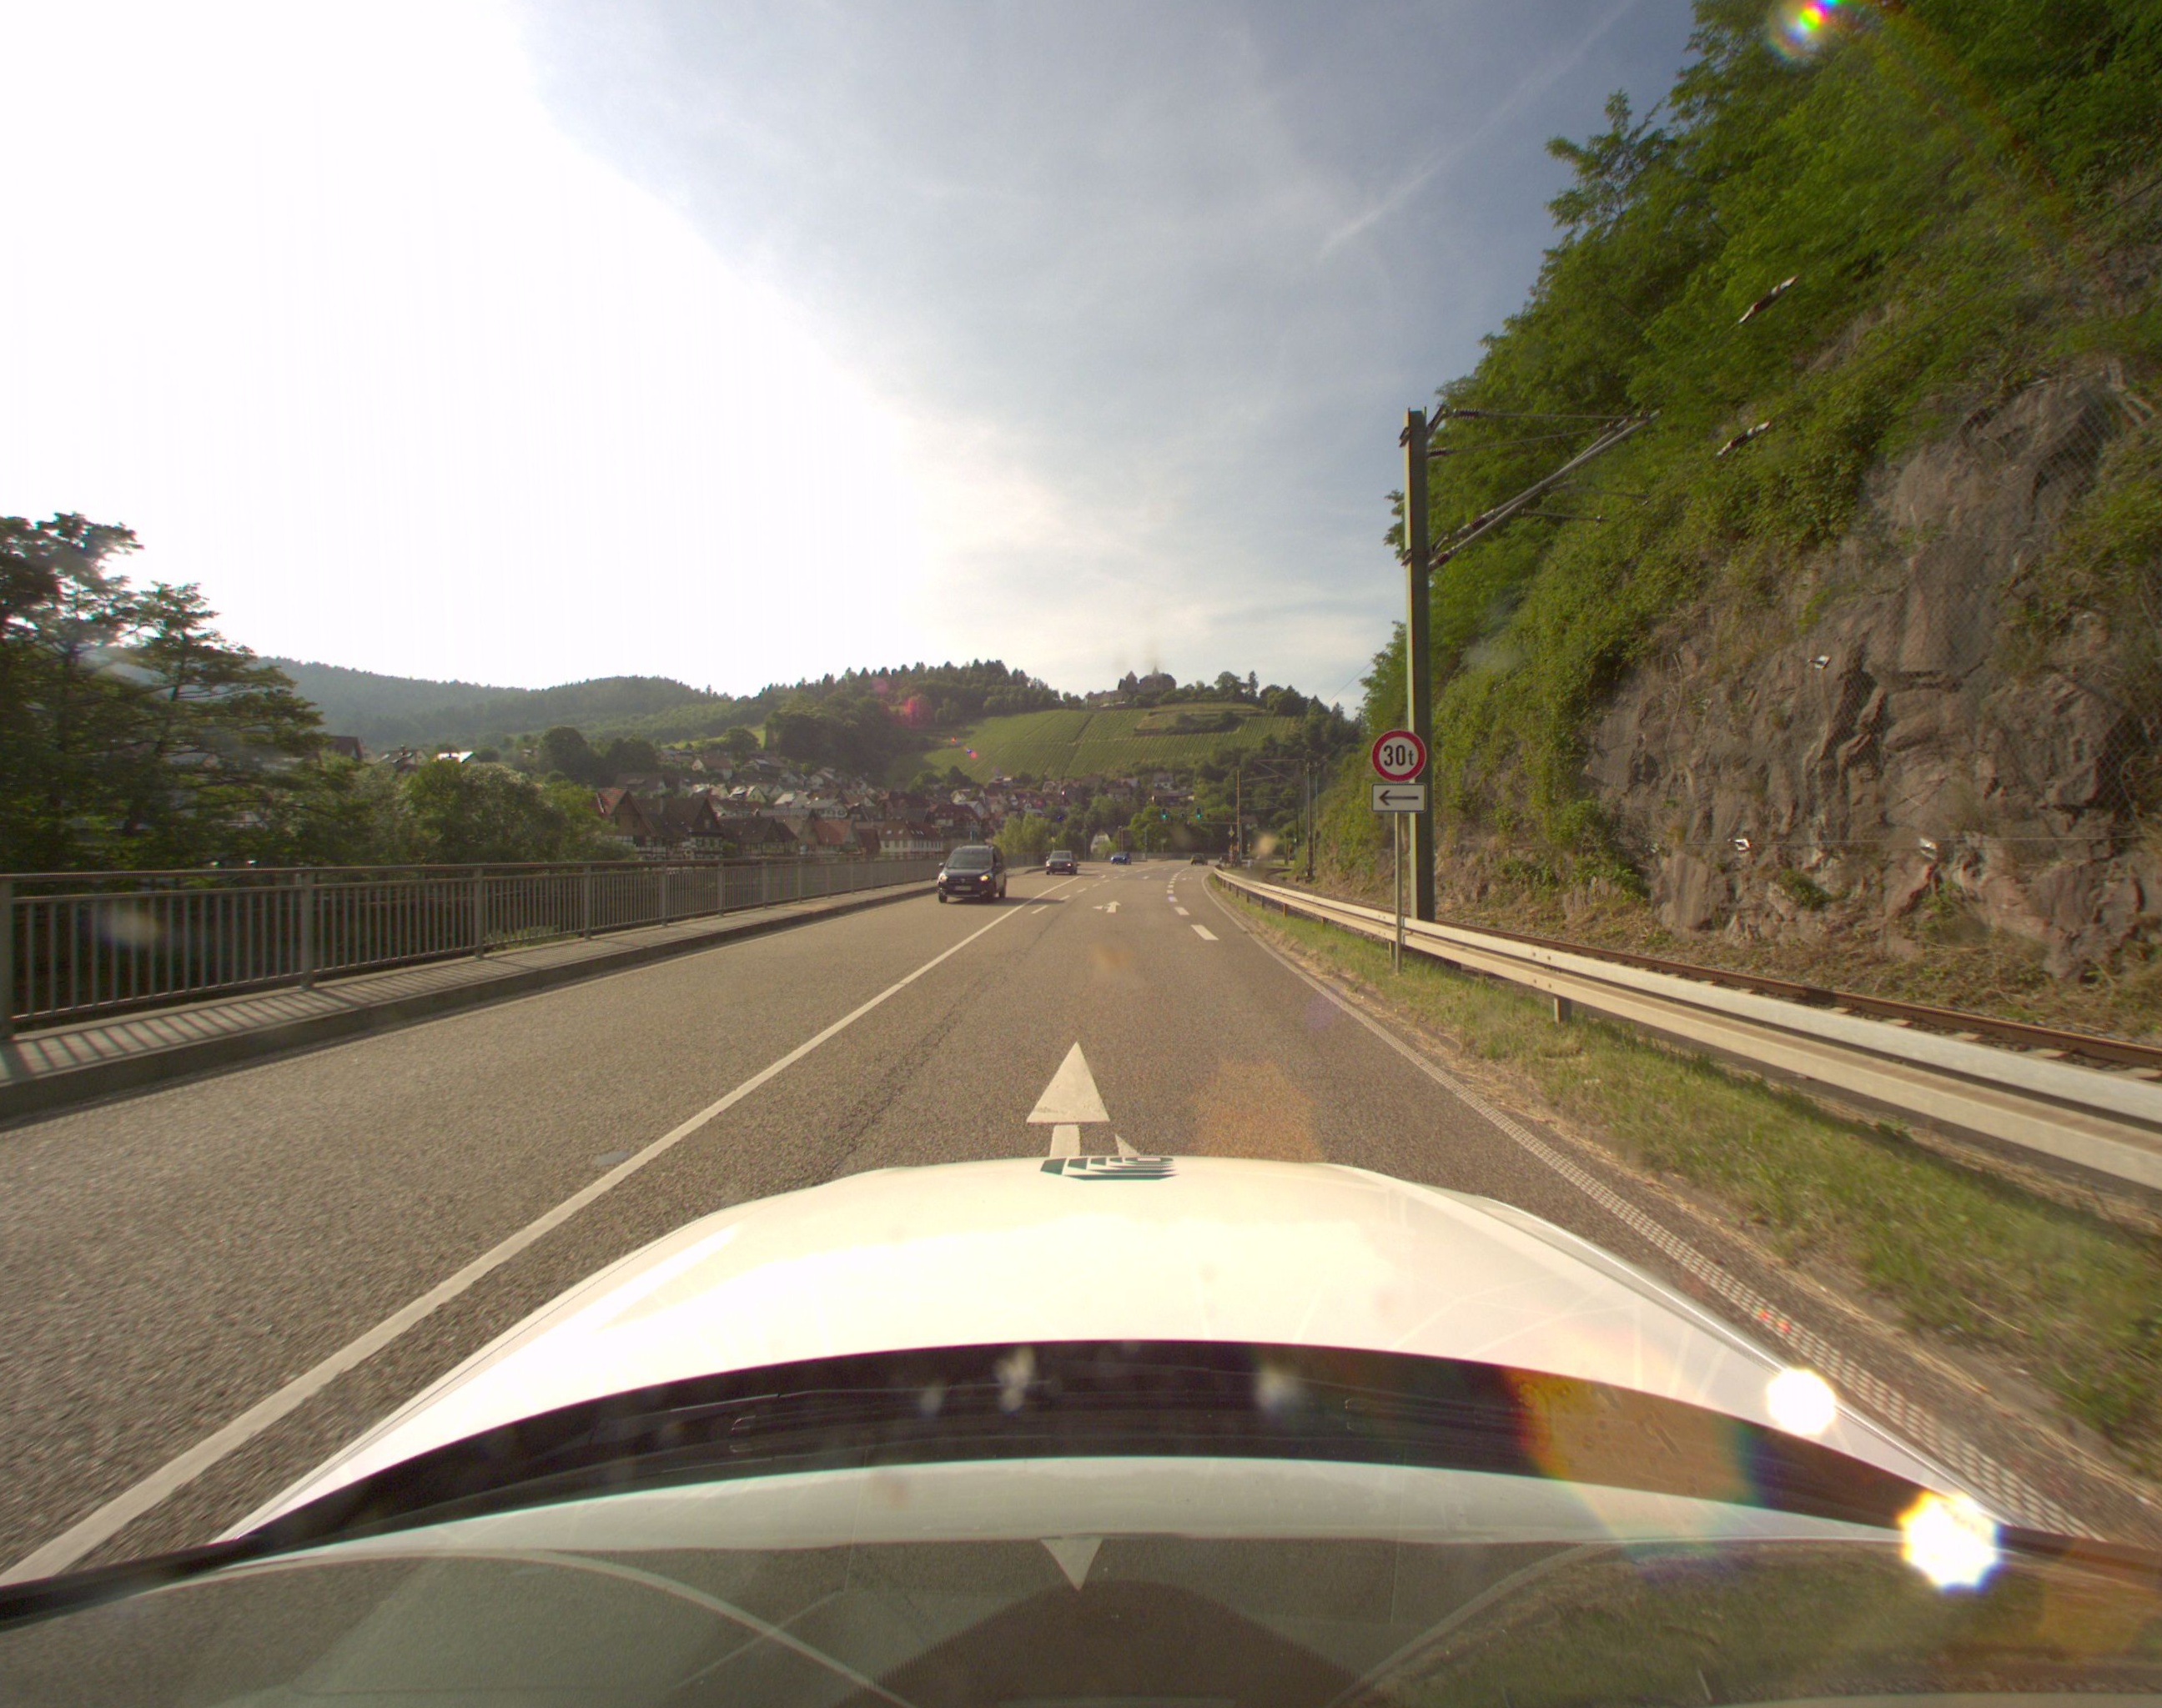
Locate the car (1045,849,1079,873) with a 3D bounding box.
[{"bbox_3d":[-1.270,0.455,56.832,1.808,1.646,4.619,0,0,5],"label":"car"}]

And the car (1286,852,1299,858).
[{"bbox_3d":[46.209,0.235,177.698,1.791,1.408,3.796,-1,-1,28],"label":"car"}]

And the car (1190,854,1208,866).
[{"bbox_3d":[15.533,0.785,107.132,1.714,1.457,3.428,-1,-1,21],"label":"car"}]

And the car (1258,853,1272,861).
[{"bbox_3d":[35.274,0.598,155.861,1.790,1.453,3.667,-1,-1,24],"label":"car"}]

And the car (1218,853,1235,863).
[{"bbox_3d":[22.711,0.646,126.983,1.824,1.459,3.733,-1,-1,22],"label":"car"}]

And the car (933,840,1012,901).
[{"bbox_3d":[-3.459,0.483,26.758,1.785,1.828,4.830,0,0,2],"label":"car"}]

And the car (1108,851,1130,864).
[{"bbox_3d":[4.536,0.410,96.670,1.770,1.482,4.541,1,0,12],"label":"car"}]
